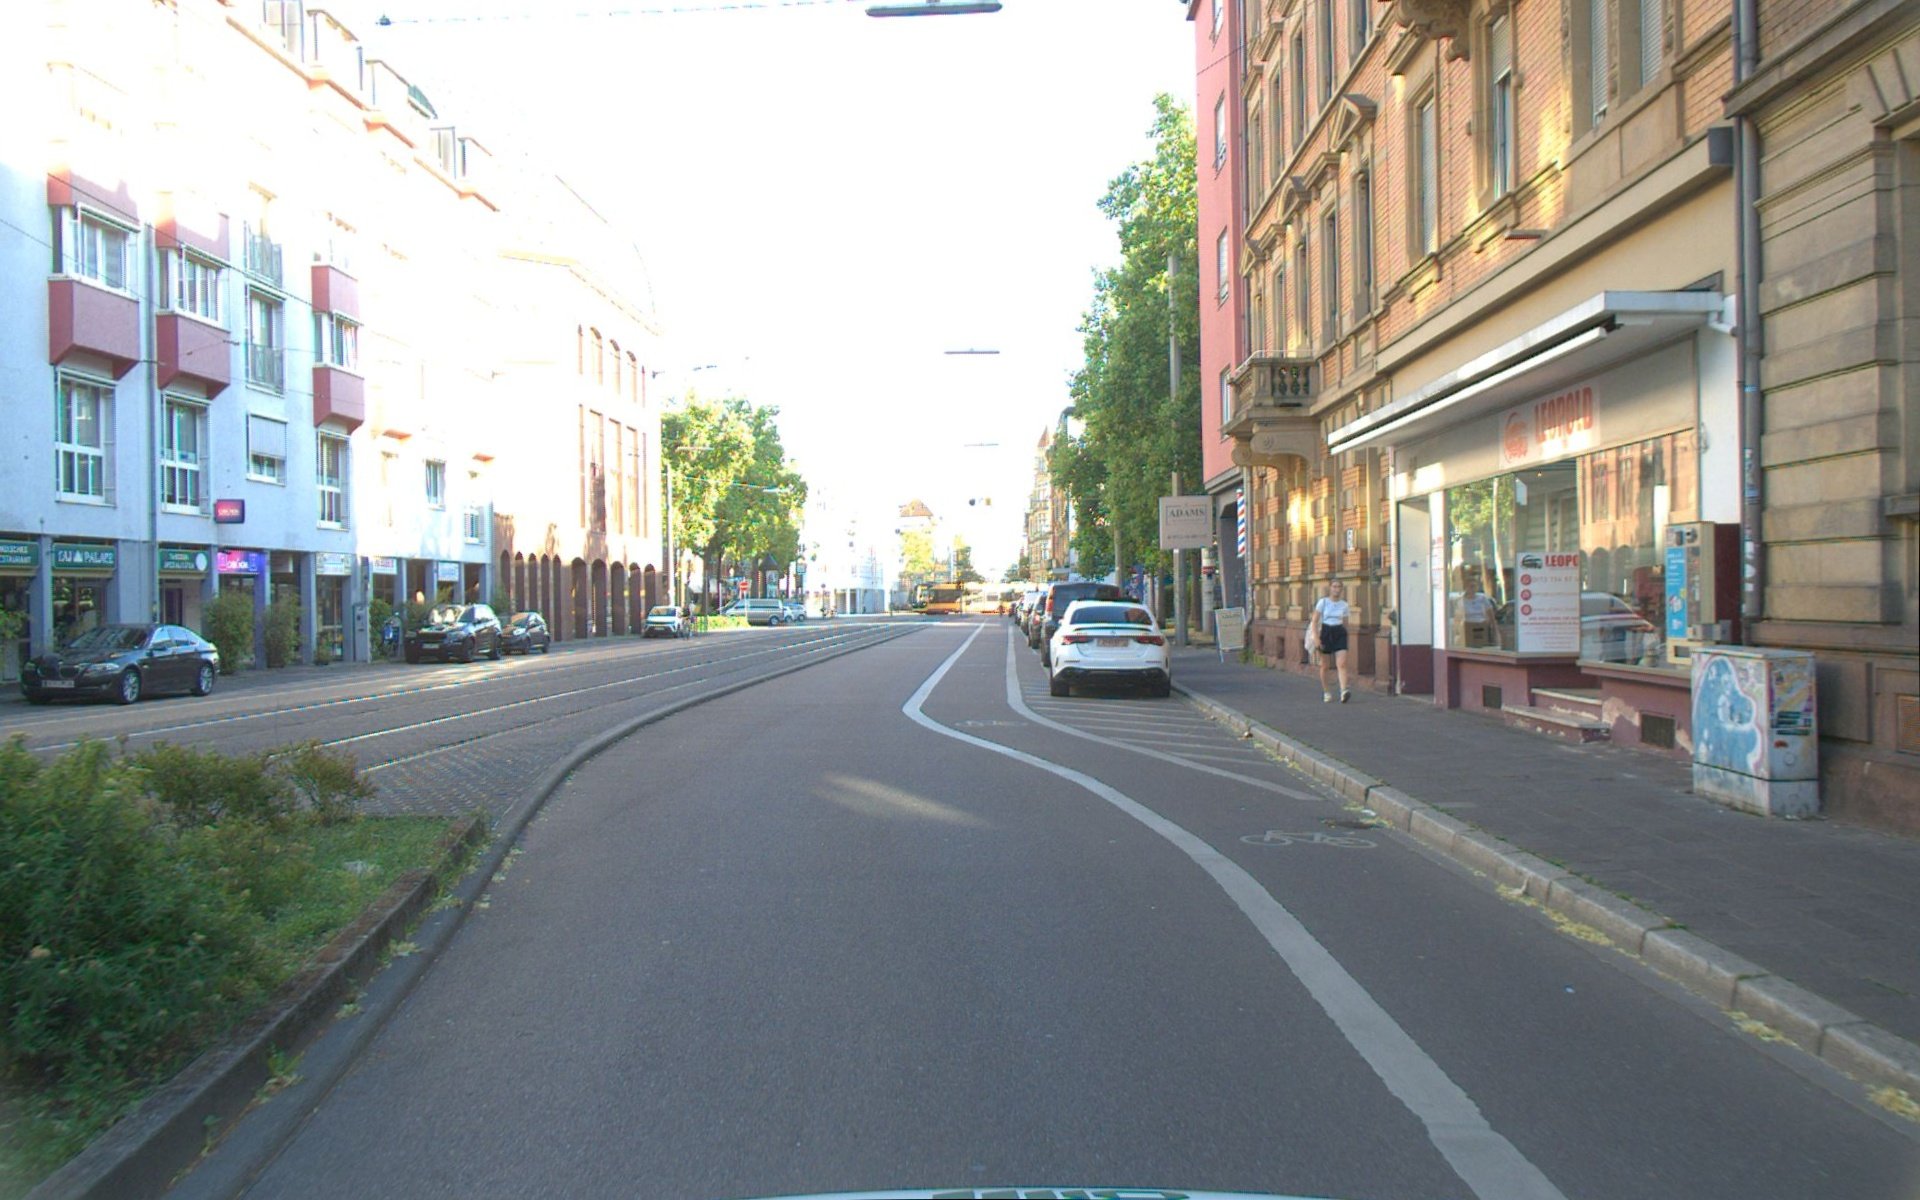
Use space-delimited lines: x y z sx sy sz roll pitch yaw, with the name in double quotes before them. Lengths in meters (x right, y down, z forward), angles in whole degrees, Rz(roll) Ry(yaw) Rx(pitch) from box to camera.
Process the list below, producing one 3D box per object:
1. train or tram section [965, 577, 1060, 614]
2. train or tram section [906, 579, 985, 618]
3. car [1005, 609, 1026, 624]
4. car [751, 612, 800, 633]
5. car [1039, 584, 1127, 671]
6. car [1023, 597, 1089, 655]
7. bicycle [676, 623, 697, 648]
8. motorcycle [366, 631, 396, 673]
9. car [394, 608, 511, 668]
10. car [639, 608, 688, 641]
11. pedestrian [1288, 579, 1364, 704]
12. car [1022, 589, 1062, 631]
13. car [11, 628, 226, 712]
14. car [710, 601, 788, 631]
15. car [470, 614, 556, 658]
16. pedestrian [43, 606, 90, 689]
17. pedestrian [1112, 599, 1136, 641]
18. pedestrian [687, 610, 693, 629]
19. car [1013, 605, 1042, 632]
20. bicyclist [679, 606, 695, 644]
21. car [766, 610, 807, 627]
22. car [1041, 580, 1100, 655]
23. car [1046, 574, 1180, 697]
"train or tram section" 6.305 -0.526 195.357 12.722 3.946 2.662 2 -1 -40
"train or tram section" -1.522 -0.118 186.207 2.644 4.029 12.055 1 -1 33
"car" 5.468 1.603 163.030 2.023 1.413 4.225 2 0 1
"car" -15.897 1.934 142.501 3.827 1.656 1.857 1 -1 -30
"car" 2.820 0.612 38.940 1.914 1.901 4.990 1 0 3
"car" 3.152 0.836 55.045 1.909 1.819 5.181 1 -1 0
"bicycle" -12.711 1.641 76.952 0.570 1.096 2.185 -3 -1 0
"motorcycle" -17.256 1.528 49.305 0.658 1.226 2.132 1 -1 -15
"car" -15.613 1.167 51.181 2.048 1.743 4.819 1 -1 1
"car" -15.207 1.244 84.939 1.831 1.628 4.253 0 0 -1
"pedestrian" 4.879 0.543 22.099 0.759 1.594 0.914 -4 -1 4
"car" 4.164 0.515 84.691 1.930 2.049 4.559 -2 0 2
"car" -16.166 1.297 32.082 1.831 1.464 4.706 0 0 -1
"car" -15.714 1.203 123.219 5.198 2.078 2.393 2 -2 -31
"car" -15.741 1.257 58.432 1.830 1.476 3.585 0 -1 4
"pedestrian" -19.228 1.016 35.598 0.601 1.742 0.745 -1 0 0
"pedestrian" 6.502 0.777 65.594 0.760 1.594 0.914 -4 -1 3
"pedestrian" -19.568 1.400 119.830 0.357 1.367 0.480 2 -1 -19
"car" 4.183 1.148 103.458 1.687 1.595 4.083 -1 0 1
"bicyclist" -12.723 1.181 77.042 0.560 1.742 0.745 -3 -1 1
"car" -16.026 1.673 152.833 3.483 1.507 1.566 1 -1 -31
"car" 3.325 0.540 49.571 1.669 2.157 3.708 0 -1 4
"car" 2.408 0.545 27.079 1.925 1.802 4.876 0 0 2
